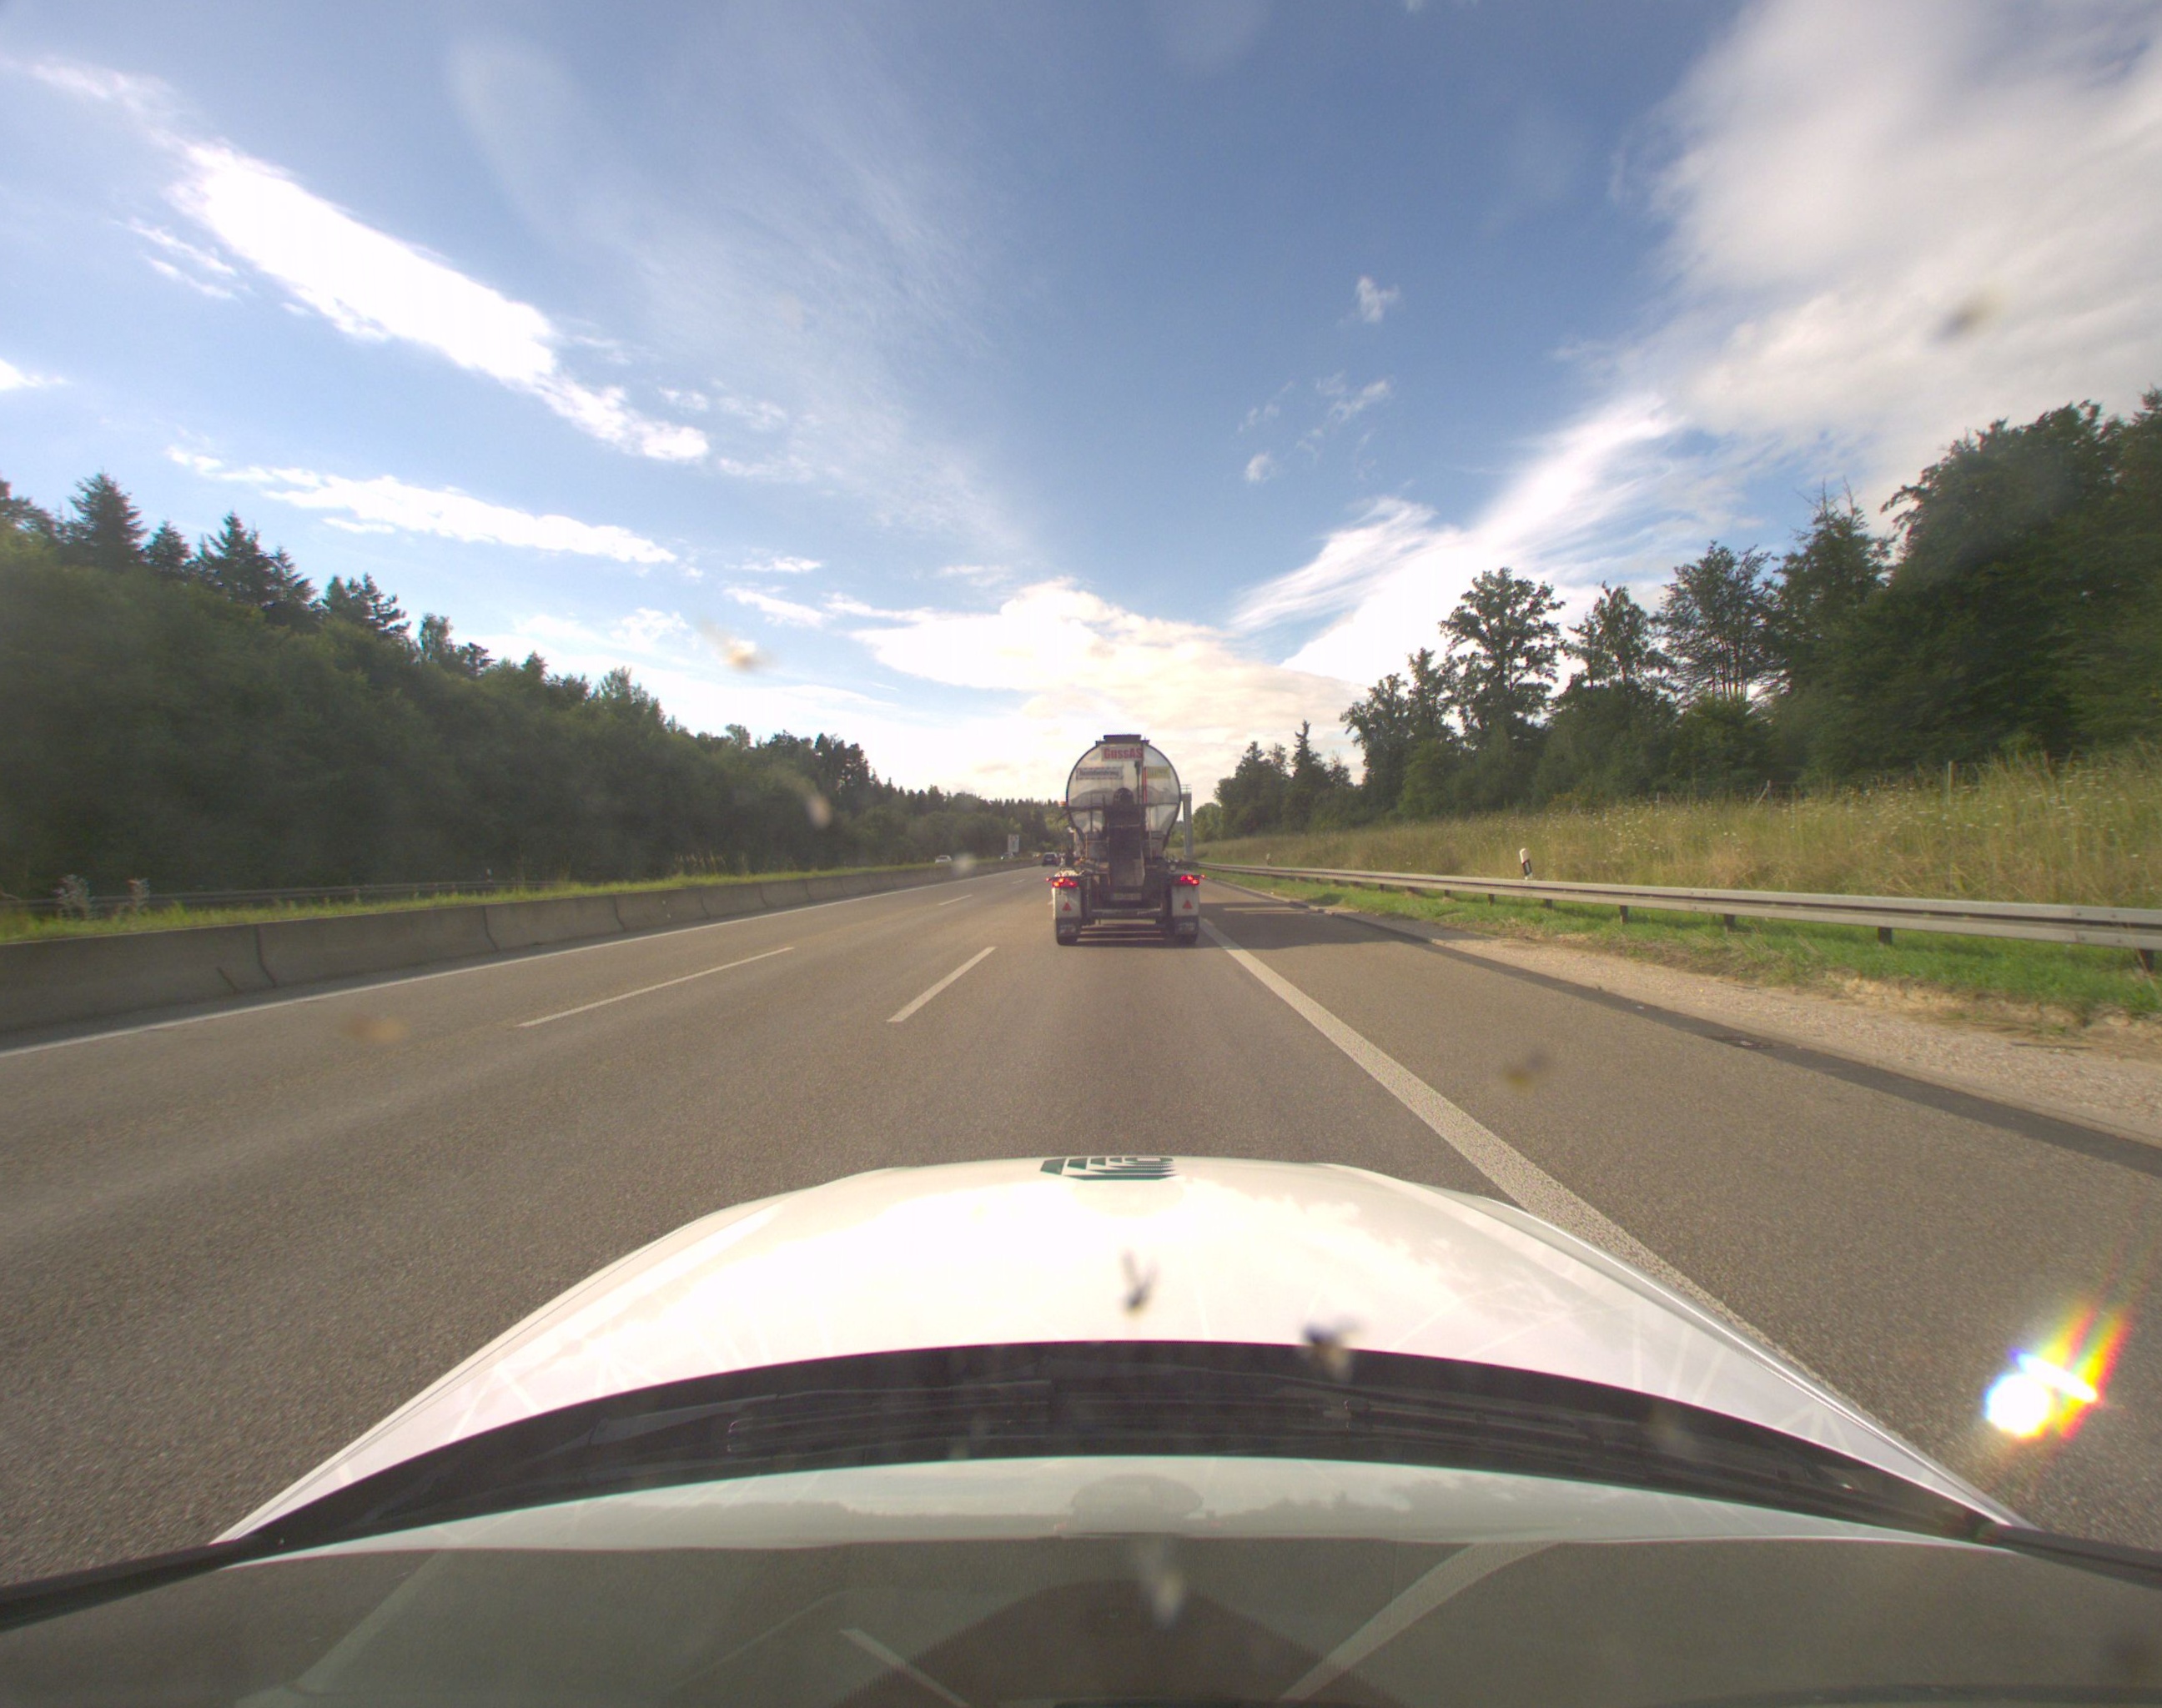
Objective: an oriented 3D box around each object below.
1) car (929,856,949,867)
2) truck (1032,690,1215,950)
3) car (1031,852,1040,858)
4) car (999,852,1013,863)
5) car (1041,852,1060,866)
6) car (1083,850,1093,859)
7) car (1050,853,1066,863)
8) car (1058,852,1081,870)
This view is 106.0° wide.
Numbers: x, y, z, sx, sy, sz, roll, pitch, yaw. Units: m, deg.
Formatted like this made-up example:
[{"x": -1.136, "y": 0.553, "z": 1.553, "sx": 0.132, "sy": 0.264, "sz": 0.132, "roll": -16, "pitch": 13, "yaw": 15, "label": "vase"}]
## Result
[{"x": -18.451, "y": 0.946, "z": 105.752, "sx": 1.809, "sy": 1.290, "sz": 3.546, "roll": -1, "pitch": 0, "yaw": 2, "label": "car"}, {"x": 0.940, "y": -0.551, "z": 18.779, "sx": 2.901, "sy": 4.157, "sz": 11.277, "roll": -1, "pitch": 0, "yaw": 3, "label": "truck"}, {"x": -12.402, "y": 0.361, "z": 222.232, "sx": 1.942, "sy": 1.539, "sz": 4.330, "roll": -1, "pitch": 0, "yaw": 2, "label": "car"}, {"x": -12.791, "y": 0.586, "z": 139.327, "sx": 1.899, "sy": 1.717, "sz": 4.003, "roll": -1, "pitch": 0, "yaw": 2, "label": "car"}, {"x": -3.557, "y": 0.576, "z": 95.927, "sx": 1.828, "sy": 1.517, "sz": 4.336, "roll": -1, "pitch": 0, "yaw": 2, "label": "car"}, {"x": 1.453, "y": 0.155, "z": 169.975, "sx": 1.839, "sy": 1.783, "sz": 4.001, "roll": -1, "pitch": 0, "yaw": 1, "label": "car"}, {"x": -3.242, "y": 0.575, "z": 116.174, "sx": 1.849, "sy": 1.431, "sz": 4.844, "roll": -1, "pitch": 0, "yaw": 2, "label": "car"}, {"x": -0.995, "y": 0.633, "z": 74.343, "sx": 1.828, "sy": 1.517, "sz": 4.336, "roll": -1, "pitch": 0, "yaw": 2, "label": "car"}]
